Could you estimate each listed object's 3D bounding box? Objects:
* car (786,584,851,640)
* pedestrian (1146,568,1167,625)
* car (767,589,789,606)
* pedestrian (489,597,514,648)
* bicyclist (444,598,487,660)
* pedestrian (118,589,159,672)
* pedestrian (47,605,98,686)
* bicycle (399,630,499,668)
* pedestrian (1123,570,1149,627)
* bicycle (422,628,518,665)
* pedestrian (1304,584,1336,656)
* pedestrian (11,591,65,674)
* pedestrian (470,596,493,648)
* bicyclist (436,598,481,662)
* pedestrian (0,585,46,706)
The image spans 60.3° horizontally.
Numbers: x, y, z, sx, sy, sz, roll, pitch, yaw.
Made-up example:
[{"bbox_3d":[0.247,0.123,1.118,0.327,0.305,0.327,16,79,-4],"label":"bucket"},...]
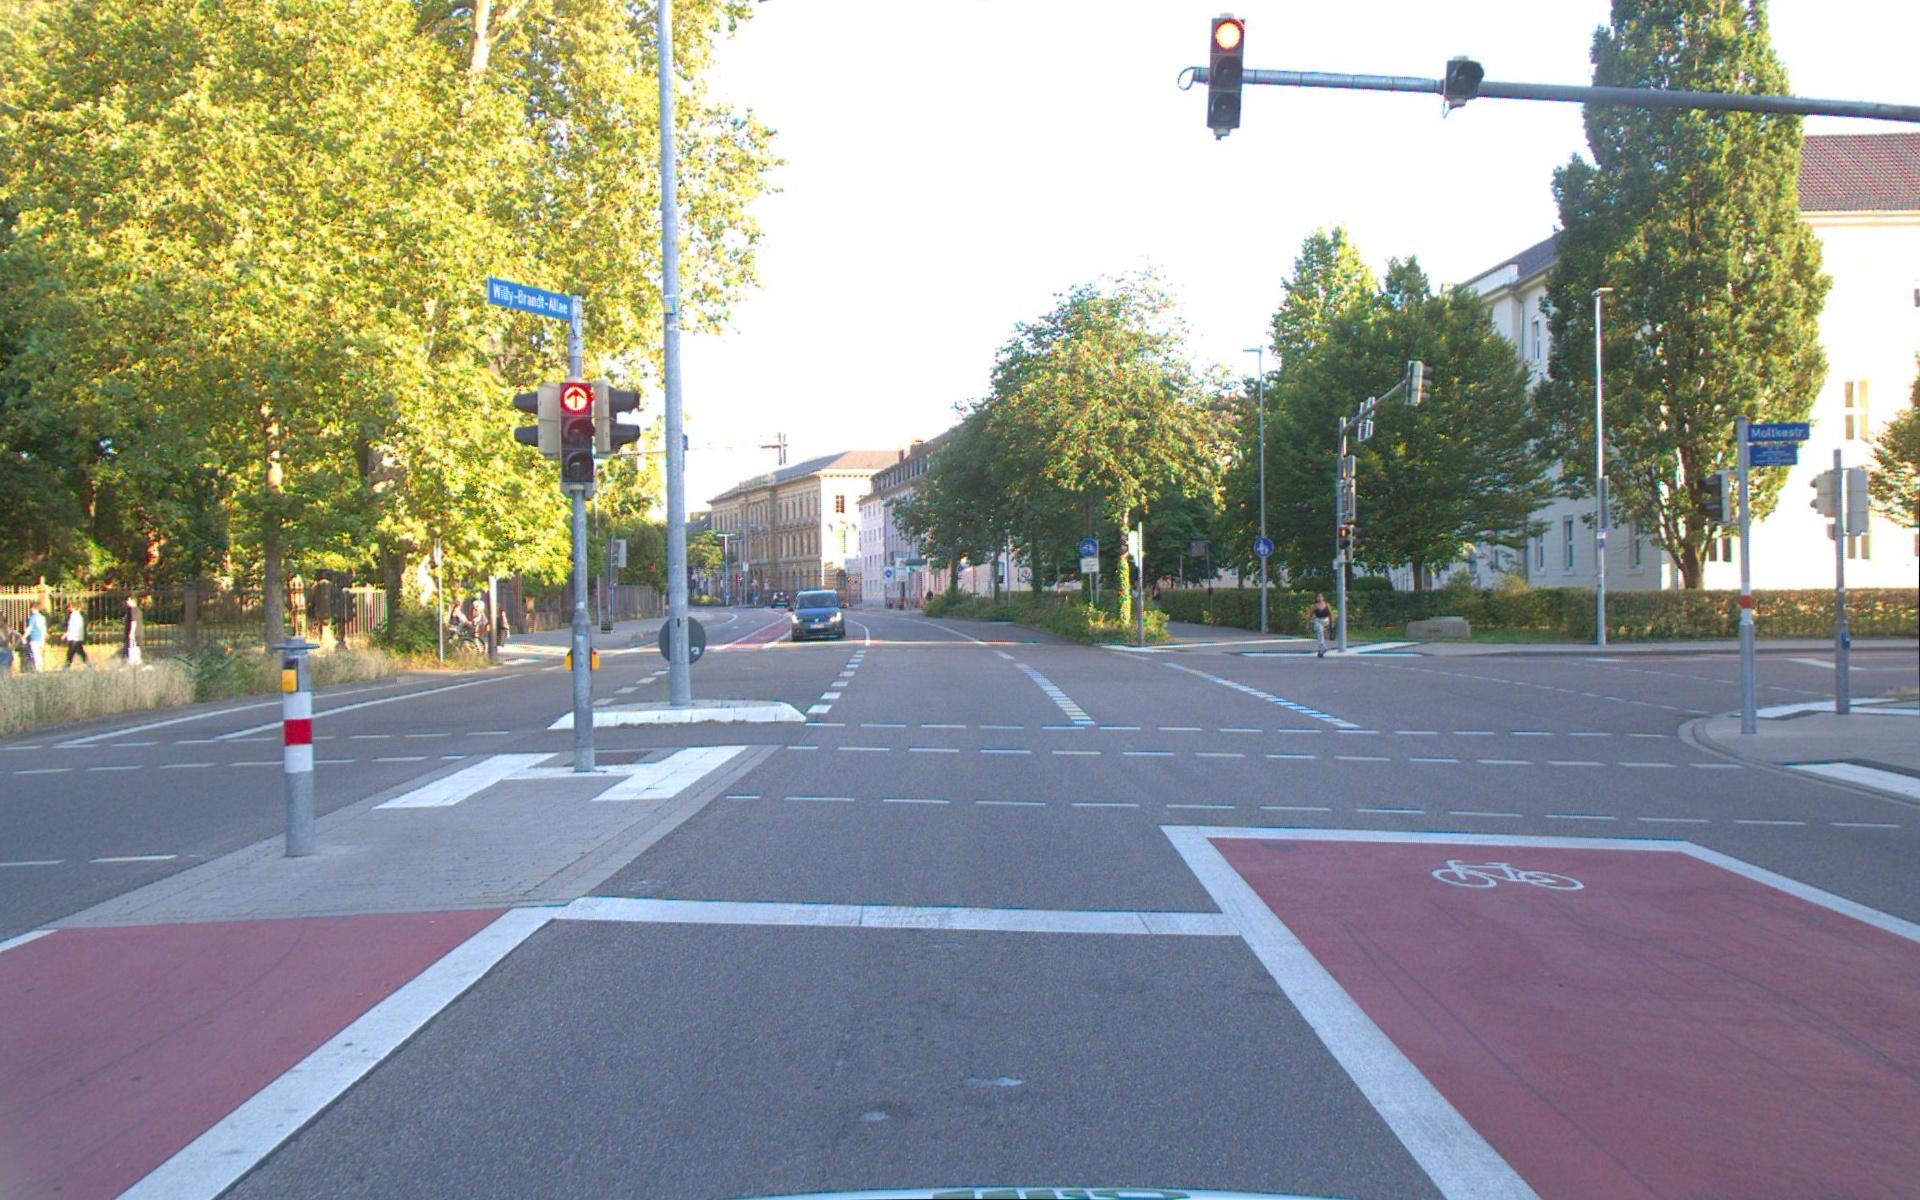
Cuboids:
[{"bbox_3d":[-4.791,0.384,56.401,1.812,1.750,4.295,-3,0,-1],"label":"car"},{"bbox_3d":[7.163,-0.138,60.346,0.622,2.049,0.720,0,0,-4],"label":"pedestrian"},{"bbox_3d":[-19.075,-0.254,173.314,1.789,1.616,3.985,-2,1,-14],"label":"car"},{"bbox_3d":[-14.663,0.706,52.866,0.587,1.601,0.646,-1,0,-1],"label":"pedestrian"},{"bbox_3d":[-13.648,0.790,45.633,0.938,1.659,0.753,-1,0,0],"label":"bicyclist"},{"bbox_3d":[-20.610,0.758,41.514,0.626,2.049,0.701,-1,0,1],"label":"pedestrian"},{"bbox_3d":[-22.646,1.146,42.223,0.745,2.049,1.077,0,0,-1],"label":"pedestrian"},{"bbox_3d":[-13.581,1.298,43.986,2.380,0.940,0.775,-1,0,0],"label":"bicycle"},{"bbox_3d":[6.354,-0.064,59.625,0.852,2.049,0.722,0,0,-1],"label":"pedestrian"},{"bbox_3d":[-13.497,1.286,45.608,2.380,0.940,0.775,-1,0,0],"label":"bicycle"},{"bbox_3d":[8.476,0.463,38.974,0.587,1.664,0.691,0,1,0],"label":"pedestrian"},{"bbox_3d":[-22.941,0.800,41.159,0.786,2.049,0.993,0,0,-1],"label":"pedestrian"},{"bbox_3d":[-15.351,0.703,53.051,0.524,1.624,0.590,-1,0,-1],"label":"pedestrian"},{"bbox_3d":[-13.330,0.797,43.983,0.938,1.659,0.753,-1,0,0],"label":"bicyclist"},{"bbox_3d":[-16.194,0.773,28.579,0.590,2.049,0.632,0,0,-41],"label":"pedestrian"}]
